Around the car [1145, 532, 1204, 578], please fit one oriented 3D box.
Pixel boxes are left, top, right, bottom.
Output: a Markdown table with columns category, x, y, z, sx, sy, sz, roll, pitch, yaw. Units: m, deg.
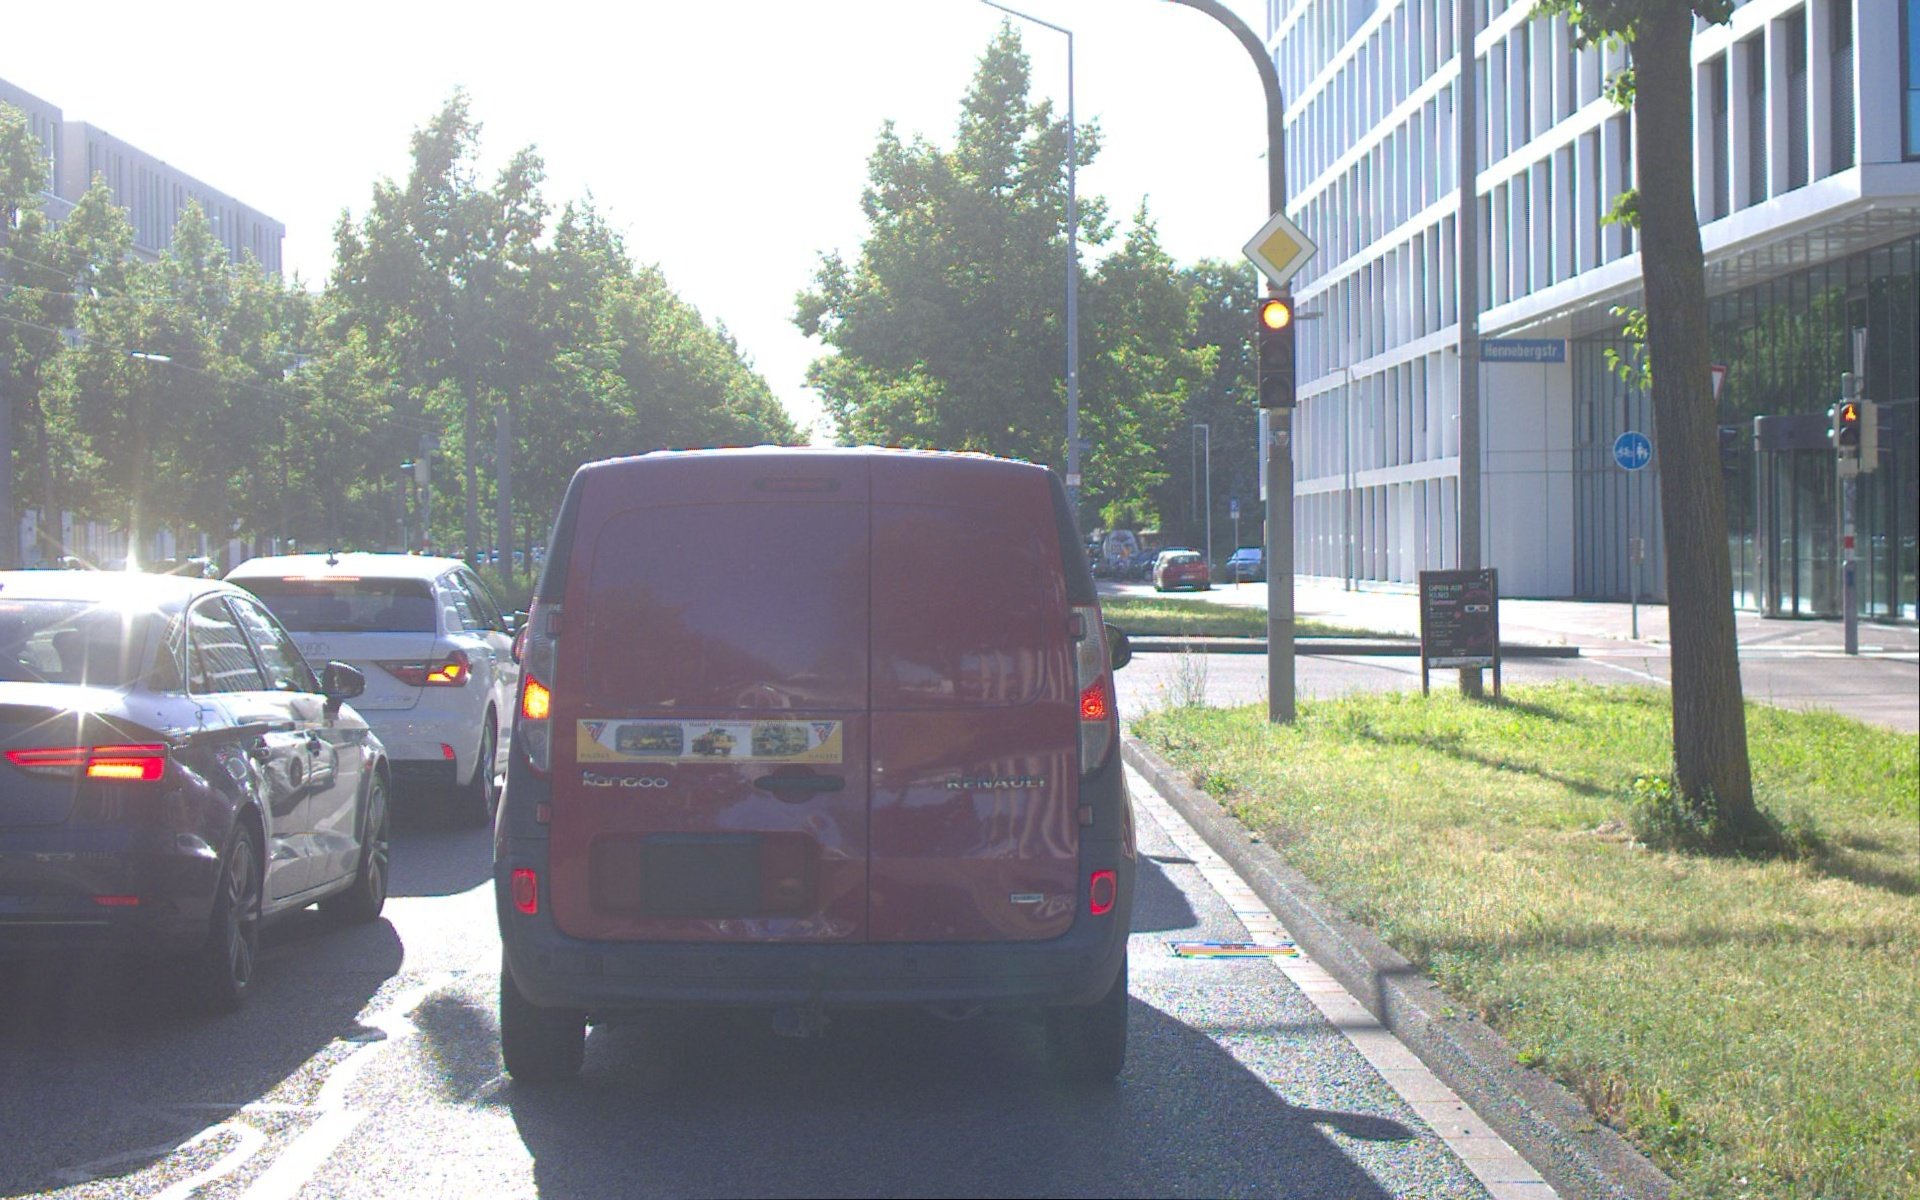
| category | x | y | z | sx | sy | sz | roll | pitch | yaw |
| --- | --- | --- | --- | --- | --- | --- | --- | --- | --- |
| car | 8.368 | -1.771 | 134.560 | 1.993 | 1.776 | 4.000 | 0 | 1 | -1 |

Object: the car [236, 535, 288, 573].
| category | x | y | z | sx | sy | sz | roll | pitch | yaw |
| --- | --- | --- | --- | --- | --- | --- | --- | --- | --- |
| car | -37.358 | -2.460 | 184.029 | 1.993 | 2.007 | 4.000 | 0 | 1 | -1 |

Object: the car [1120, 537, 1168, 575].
| category | x | y | z | sx | sy | sz | roll | pitch | yaw |
| --- | --- | --- | --- | --- | --- | --- | --- | --- | --- |
| car | 8.667 | -2.082 | 162.261 | 1.993 | 1.776 | 4.000 | 0 | 1 | -1 |

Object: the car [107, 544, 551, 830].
| category | x | y | z | sx | sy | sz | roll | pitch | yaw |
| --- | --- | --- | --- | --- | --- | --- | --- | --- | --- |
| car | -3.399 | 0.406 | 19.203 | 1.803 | 1.421 | 3.901 | 0 | 1 | -1 |

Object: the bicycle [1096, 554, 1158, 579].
| category | x | y | z | sx | sy | sz | roll | pitch | yaw |
| --- | --- | --- | --- | --- | --- | --- | --- | --- | --- |
| bicycle | 7.389 | -1.495 | 152.465 | 2.642 | 1.102 | 0.949 | 0 | 1 | 34 |

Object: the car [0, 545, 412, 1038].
| category | x | y | z | sx | sy | sz | roll | pitch | yaw |
| --- | --- | --- | --- | --- | --- | --- | --- | --- | --- |
| car | -3.189 | 0.527 | 12.195 | 1.842 | 1.421 | 4.339 | 0 | 1 | -1 |

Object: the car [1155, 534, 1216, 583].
| category | x | y | z | sx | sy | sz | roll | pitch | yaw |
| --- | --- | --- | --- | --- | --- | --- | --- | --- | --- |
| car | 8.479 | -1.579 | 129.634 | 1.993 | 1.776 | 4.000 | 0 | 1 | -1 |

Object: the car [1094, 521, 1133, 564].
| category | x | y | z | sx | sy | sz | roll | pitch | yaw |
| --- | --- | --- | --- | --- | --- | --- | --- | --- | --- |
| car | 8.929 | -3.345 | 199.968 | 1.993 | 2.488 | 4.987 | 0 | 1 | -1 |

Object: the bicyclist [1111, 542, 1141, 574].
| category | x | y | z | sx | sy | sz | roll | pitch | yaw |
| --- | --- | --- | --- | --- | --- | --- | --- | --- | --- |
| bicyclist | 7.347 | -1.865 | 152.493 | 0.986 | 1.432 | 0.949 | 0 | 1 | 34 |

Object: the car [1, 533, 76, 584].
| category | x | y | z | sx | sy | sz | roll | pitch | yaw |
| --- | --- | --- | --- | --- | --- | --- | --- | --- | --- |
| car | -37.002 | -1.699 | 138.116 | 1.993 | 2.007 | 4.000 | 0 | 1 | -1 |

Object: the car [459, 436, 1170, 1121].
| category | x | y | z | sx | sy | sz | roll | pitch | yaw |
| --- | --- | --- | --- | --- | --- | --- | --- | --- | --- |
| car | -0.401 | 0.425 | 10.931 | 1.842 | 1.774 | 4.000 | 0 | 1 | -1 |

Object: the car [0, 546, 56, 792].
| category | x | y | z | sx | sy | sz | roll | pitch | yaw |
| --- | --- | --- | --- | --- | --- | --- | --- | --- | --- |
| car | -6.662 | 0.404 | 19.979 | 1.799 | 1.478 | 4.569 | 3 | 1 | -3 |

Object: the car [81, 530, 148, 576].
| category | x | y | z | sx | sy | sz | roll | pitch | yaw |
| --- | --- | --- | --- | --- | --- | --- | --- | --- | --- |
| car | -37.091 | -2.069 | 150.943 | 1.993 | 2.007 | 4.000 | 0 | 1 | -1 |
